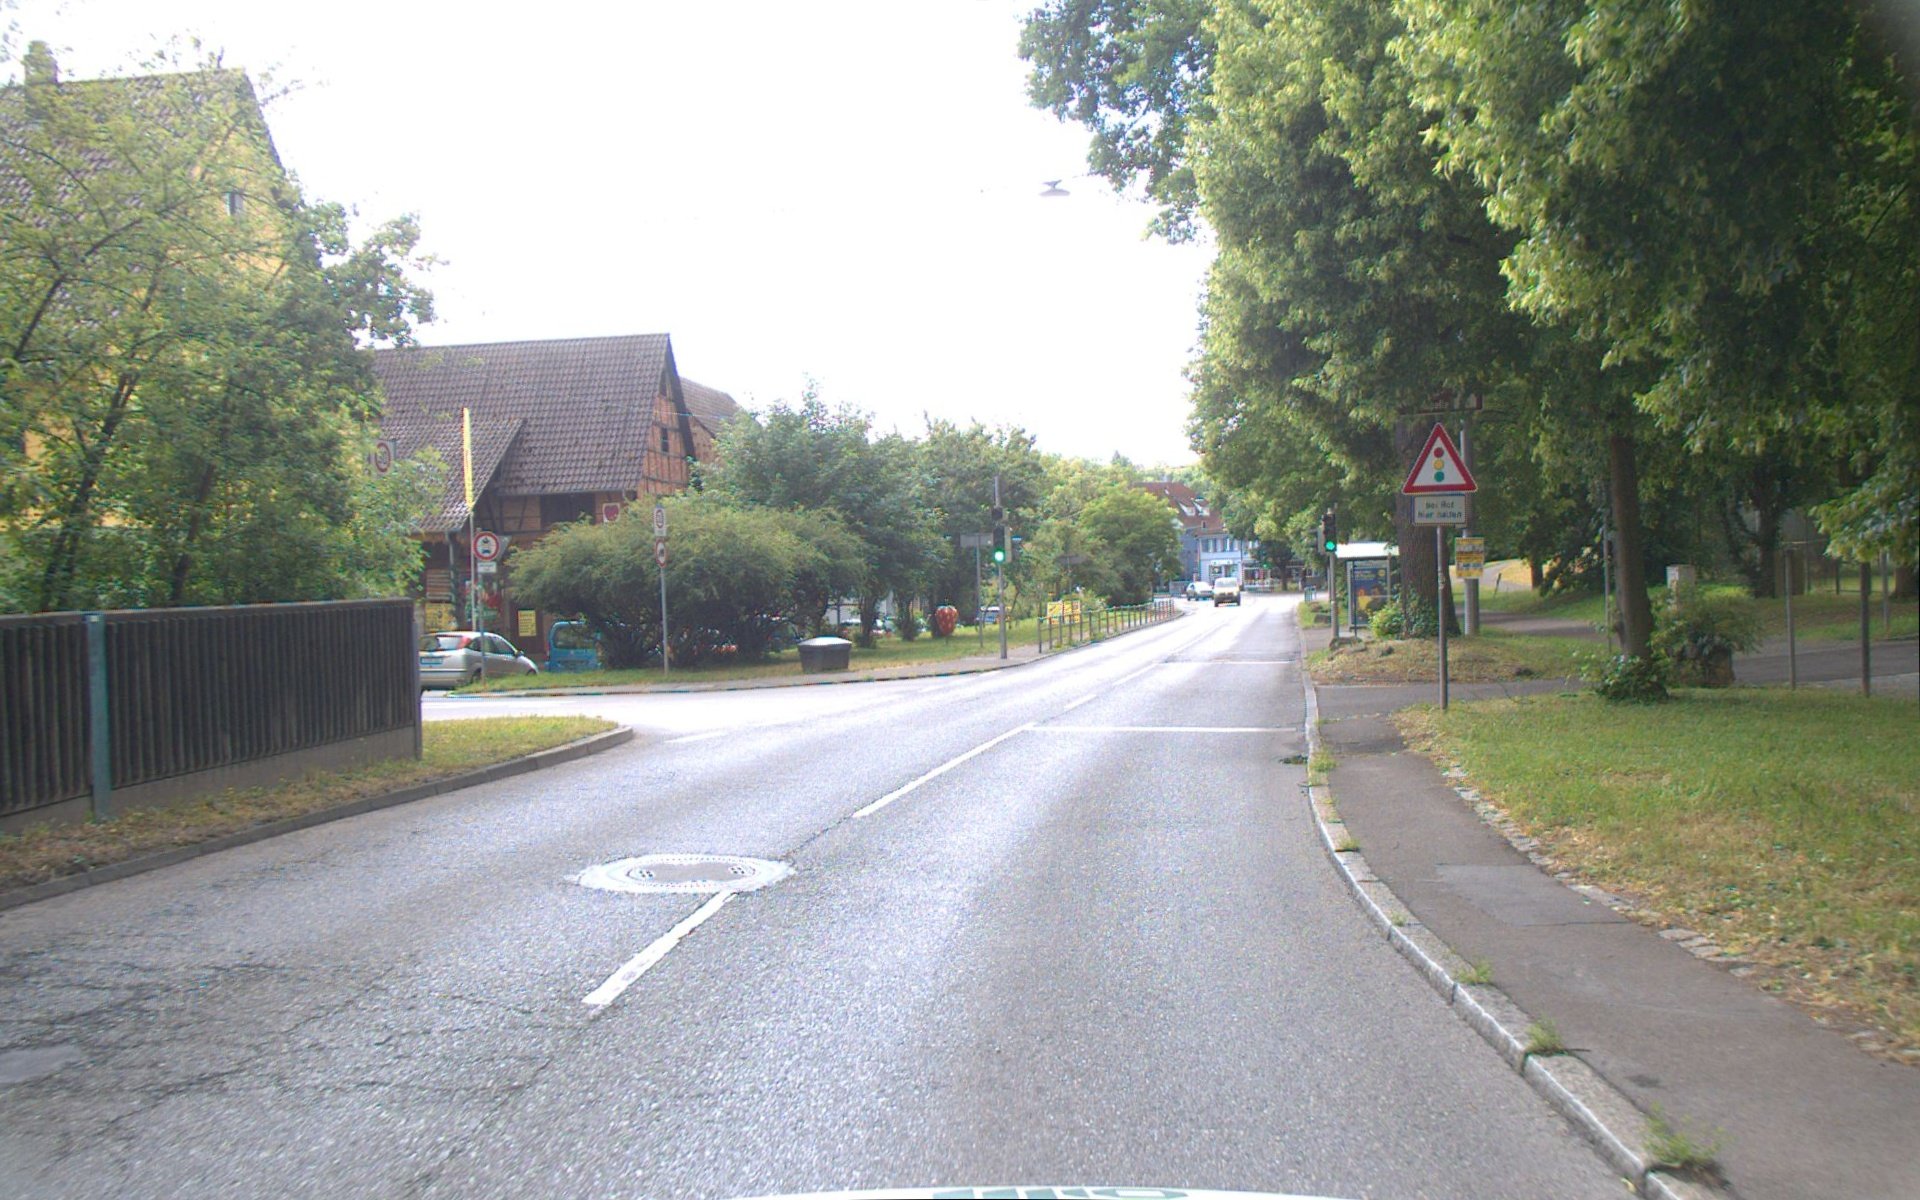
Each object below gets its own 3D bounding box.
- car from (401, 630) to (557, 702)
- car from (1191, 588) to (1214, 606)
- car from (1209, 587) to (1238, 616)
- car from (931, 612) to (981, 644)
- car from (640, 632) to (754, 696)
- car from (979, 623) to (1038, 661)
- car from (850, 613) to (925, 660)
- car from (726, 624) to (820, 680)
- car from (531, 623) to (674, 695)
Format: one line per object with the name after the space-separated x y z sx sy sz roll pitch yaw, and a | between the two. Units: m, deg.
-10.919 1.473 37.853 1.610 1.368 4.156 -4 0 11 | car
21.718 -0.264 148.068 1.668 1.538 4.004 -4 0 12 | car
18.848 0.115 118.129 1.806 1.964 4.773 -2 0 12 | car
-0.158 1.291 76.057 1.520 1.300 2.555 -4 0 17 | car
-7.915 1.907 50.117 1.907 1.646 4.003 -4 -1 14 | car
2.490 2.117 84.233 1.880 1.724 4.002 -4 0 17 | car
-2.832 1.417 65.225 1.773 1.646 4.003 -4 -1 14 | car
-6.257 1.736 55.829 1.773 1.646 4.003 -4 -1 14 | car
-9.596 1.550 44.774 1.951 1.646 4.451 -4 -1 14 | car
